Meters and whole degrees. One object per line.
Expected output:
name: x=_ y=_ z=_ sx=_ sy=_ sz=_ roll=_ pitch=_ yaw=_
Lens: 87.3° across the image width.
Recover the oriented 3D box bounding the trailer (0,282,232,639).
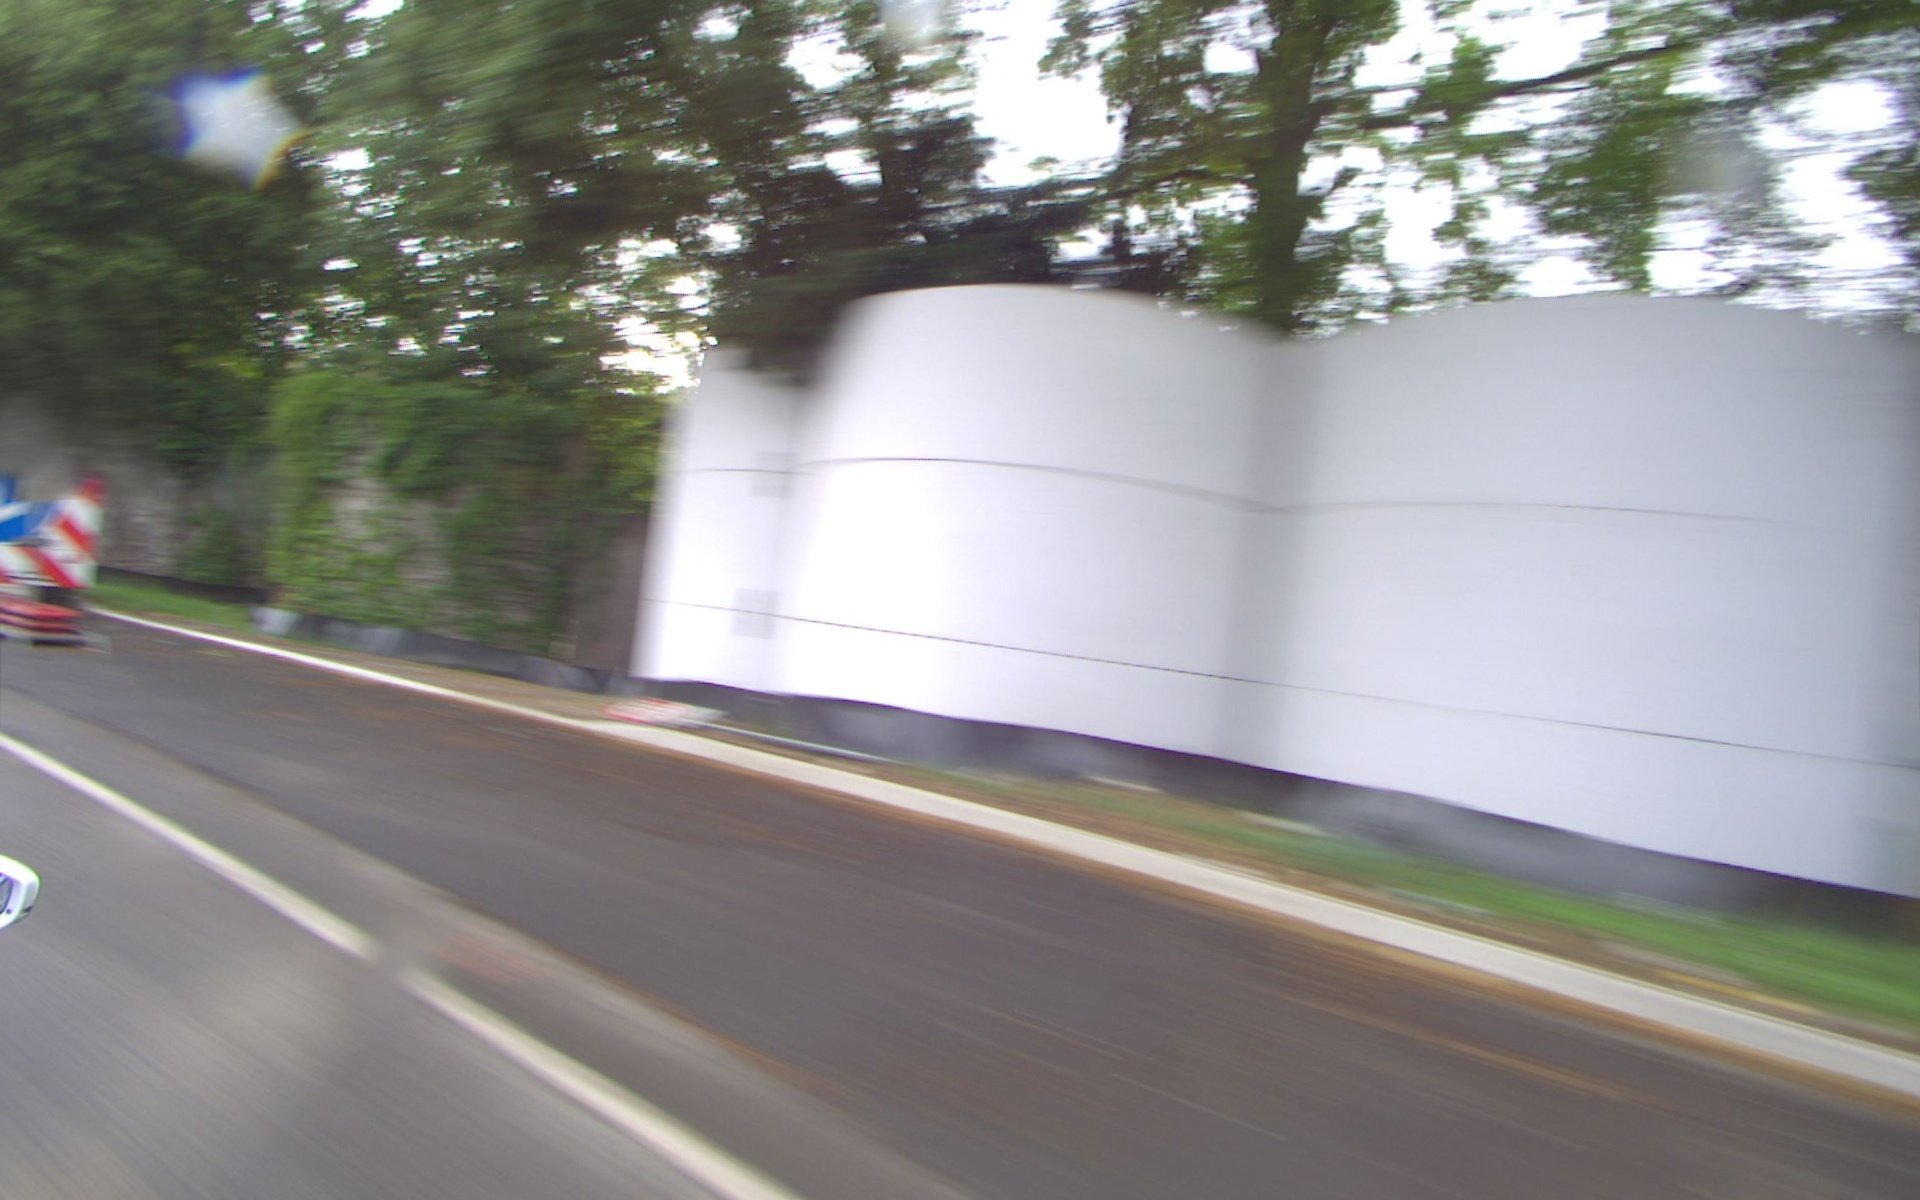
trailer: x=-12.105 y=-1.657 z=12.800 sx=5.861 sy=3.633 sz=2.310 roll=6 pitch=0 yaw=32
